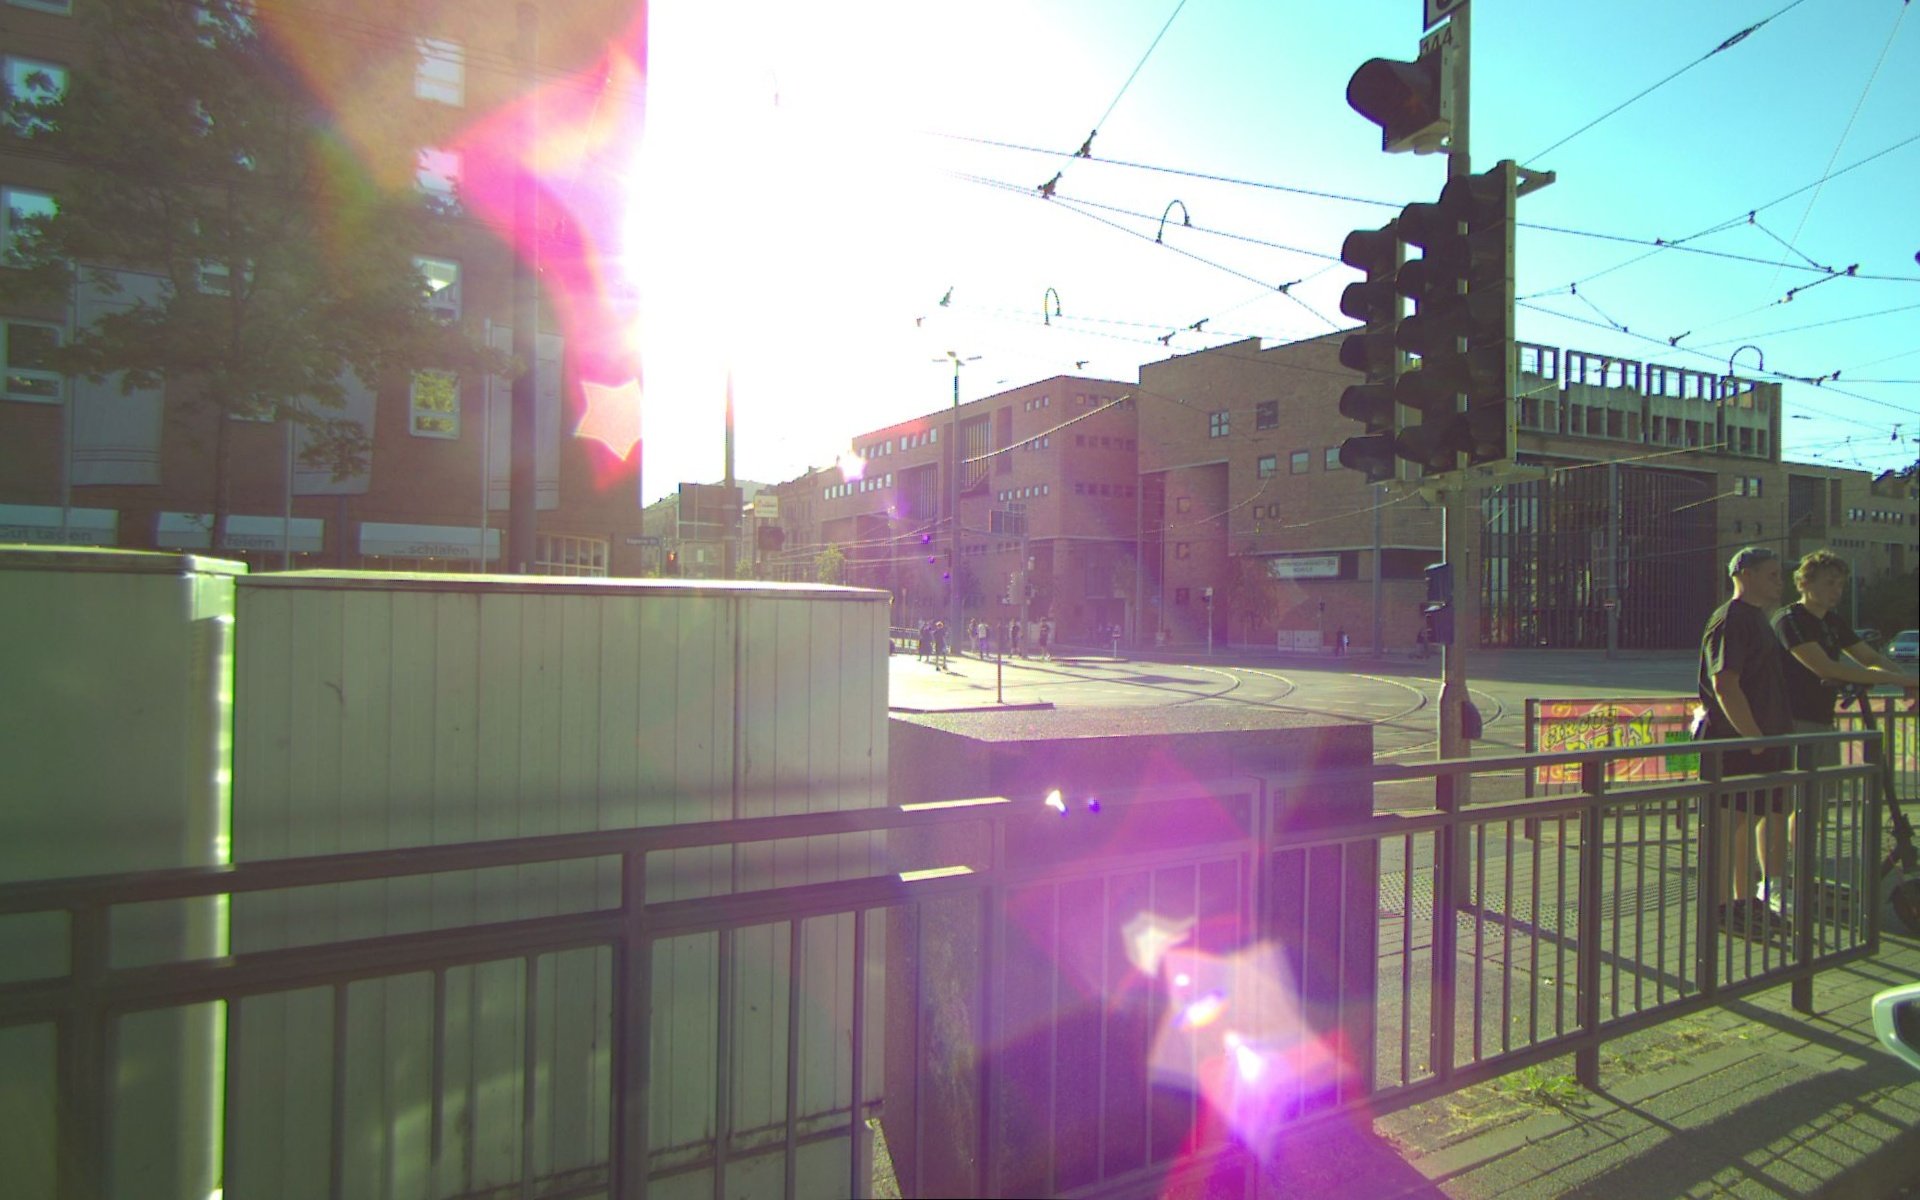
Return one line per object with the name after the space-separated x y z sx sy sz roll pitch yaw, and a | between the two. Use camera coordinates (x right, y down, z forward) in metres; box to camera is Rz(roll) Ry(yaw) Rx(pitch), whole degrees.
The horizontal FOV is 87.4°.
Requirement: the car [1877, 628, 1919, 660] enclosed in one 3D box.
48.894 2.260 51.814 3.962 1.598 1.610 1 -2 -36 | car

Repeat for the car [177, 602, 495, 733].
-9.537 0.972 15.655 3.955 1.786 1.858 1 0 -32 | car

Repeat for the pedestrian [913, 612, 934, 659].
-1.575 1.551 43.644 0.724 2.040 0.609 1 -1 -30 | pedestrian

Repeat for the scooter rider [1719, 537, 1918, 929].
4.462 0.656 5.231 0.670 1.877 0.564 3 -2 -25 | scooter rider

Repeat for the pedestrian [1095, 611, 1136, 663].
6.203 1.464 40.080 1.193 2.040 1.028 2 0 -30 | pedestrian

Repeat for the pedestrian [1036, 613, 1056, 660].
3.792 1.619 44.292 0.603 2.040 0.731 0 -1 30 | pedestrian

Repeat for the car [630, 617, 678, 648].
-18.288 1.924 59.954 1.738 1.750 3.965 1 -2 -32 | car

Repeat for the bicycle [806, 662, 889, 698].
-2.641 1.875 23.809 1.951 0.781 0.585 2 -2 -39 | bicycle

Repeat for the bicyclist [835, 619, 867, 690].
-2.595 1.282 23.860 0.510 1.647 0.582 1 -1 -38 | bicyclist

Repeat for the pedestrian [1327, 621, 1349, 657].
20.789 2.158 55.273 0.866 1.927 0.718 2 0 -33 | pedestrian

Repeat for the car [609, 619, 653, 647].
-21.055 2.088 64.244 1.738 1.750 3.965 1 -2 -32 | car

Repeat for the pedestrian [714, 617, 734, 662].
-10.687 1.780 45.446 0.597 2.040 0.848 1 -1 -38 | pedestrian

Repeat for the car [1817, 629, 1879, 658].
63.315 3.071 71.585 4.415 2.040 1.869 1 -1 -28 | car

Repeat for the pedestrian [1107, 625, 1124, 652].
12.036 2.986 77.569 0.841 2.079 1.001 1 -1 -32 | pedestrian

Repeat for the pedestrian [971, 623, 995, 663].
1.054 1.929 45.325 0.857 1.775 0.672 1 -1 -30 | pedestrian

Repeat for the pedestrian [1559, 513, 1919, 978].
3.729 0.616 4.848 0.843 1.908 1.164 1 -1 -25 | pedestrian

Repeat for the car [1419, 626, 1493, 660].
30.731 2.638 62.203 4.135 2.040 1.988 1 -2 -25 | car

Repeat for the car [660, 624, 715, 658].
-14.965 2.218 55.014 1.739 1.750 3.963 1 -2 -33 | car

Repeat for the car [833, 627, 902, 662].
-4.819 2.239 51.803 1.978 1.709 3.965 1 -2 -33 | car

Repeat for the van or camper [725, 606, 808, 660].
-9.308 1.570 47.983 1.981 2.451 4.980 1 -2 -36 | van or camper

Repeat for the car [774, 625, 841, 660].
-7.809 2.145 51.178 1.978 1.709 3.965 1 -2 -33 | car

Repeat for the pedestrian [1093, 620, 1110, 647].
10.763 2.567 76.565 0.841 2.079 1.001 1 -1 -32 | pedestrian

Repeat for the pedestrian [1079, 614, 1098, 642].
9.742 2.119 76.103 0.902 2.040 1.151 1 -1 -34 | pedestrian

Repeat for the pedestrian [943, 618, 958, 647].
-0.671 2.251 69.760 0.742 2.010 0.780 1 -1 -32 | pedestrian

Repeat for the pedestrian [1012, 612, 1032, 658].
2.783 1.556 45.213 0.603 2.040 0.731 0 -1 30 | pedestrian

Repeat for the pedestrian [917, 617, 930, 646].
-2.613 2.275 71.819 0.644 2.040 0.780 1 -1 -32 | pedestrian

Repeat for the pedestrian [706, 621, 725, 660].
-11.589 1.918 47.602 0.597 1.843 0.848 1 -1 -38 | pedestrian

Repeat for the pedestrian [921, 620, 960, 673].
-0.689 1.643 35.662 0.942 1.822 0.990 2 0 36 | pedestrian

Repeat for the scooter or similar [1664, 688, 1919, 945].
4.455 1.042 5.178 0.639 1.095 1.199 1 -1 -25 | scooter or similar
